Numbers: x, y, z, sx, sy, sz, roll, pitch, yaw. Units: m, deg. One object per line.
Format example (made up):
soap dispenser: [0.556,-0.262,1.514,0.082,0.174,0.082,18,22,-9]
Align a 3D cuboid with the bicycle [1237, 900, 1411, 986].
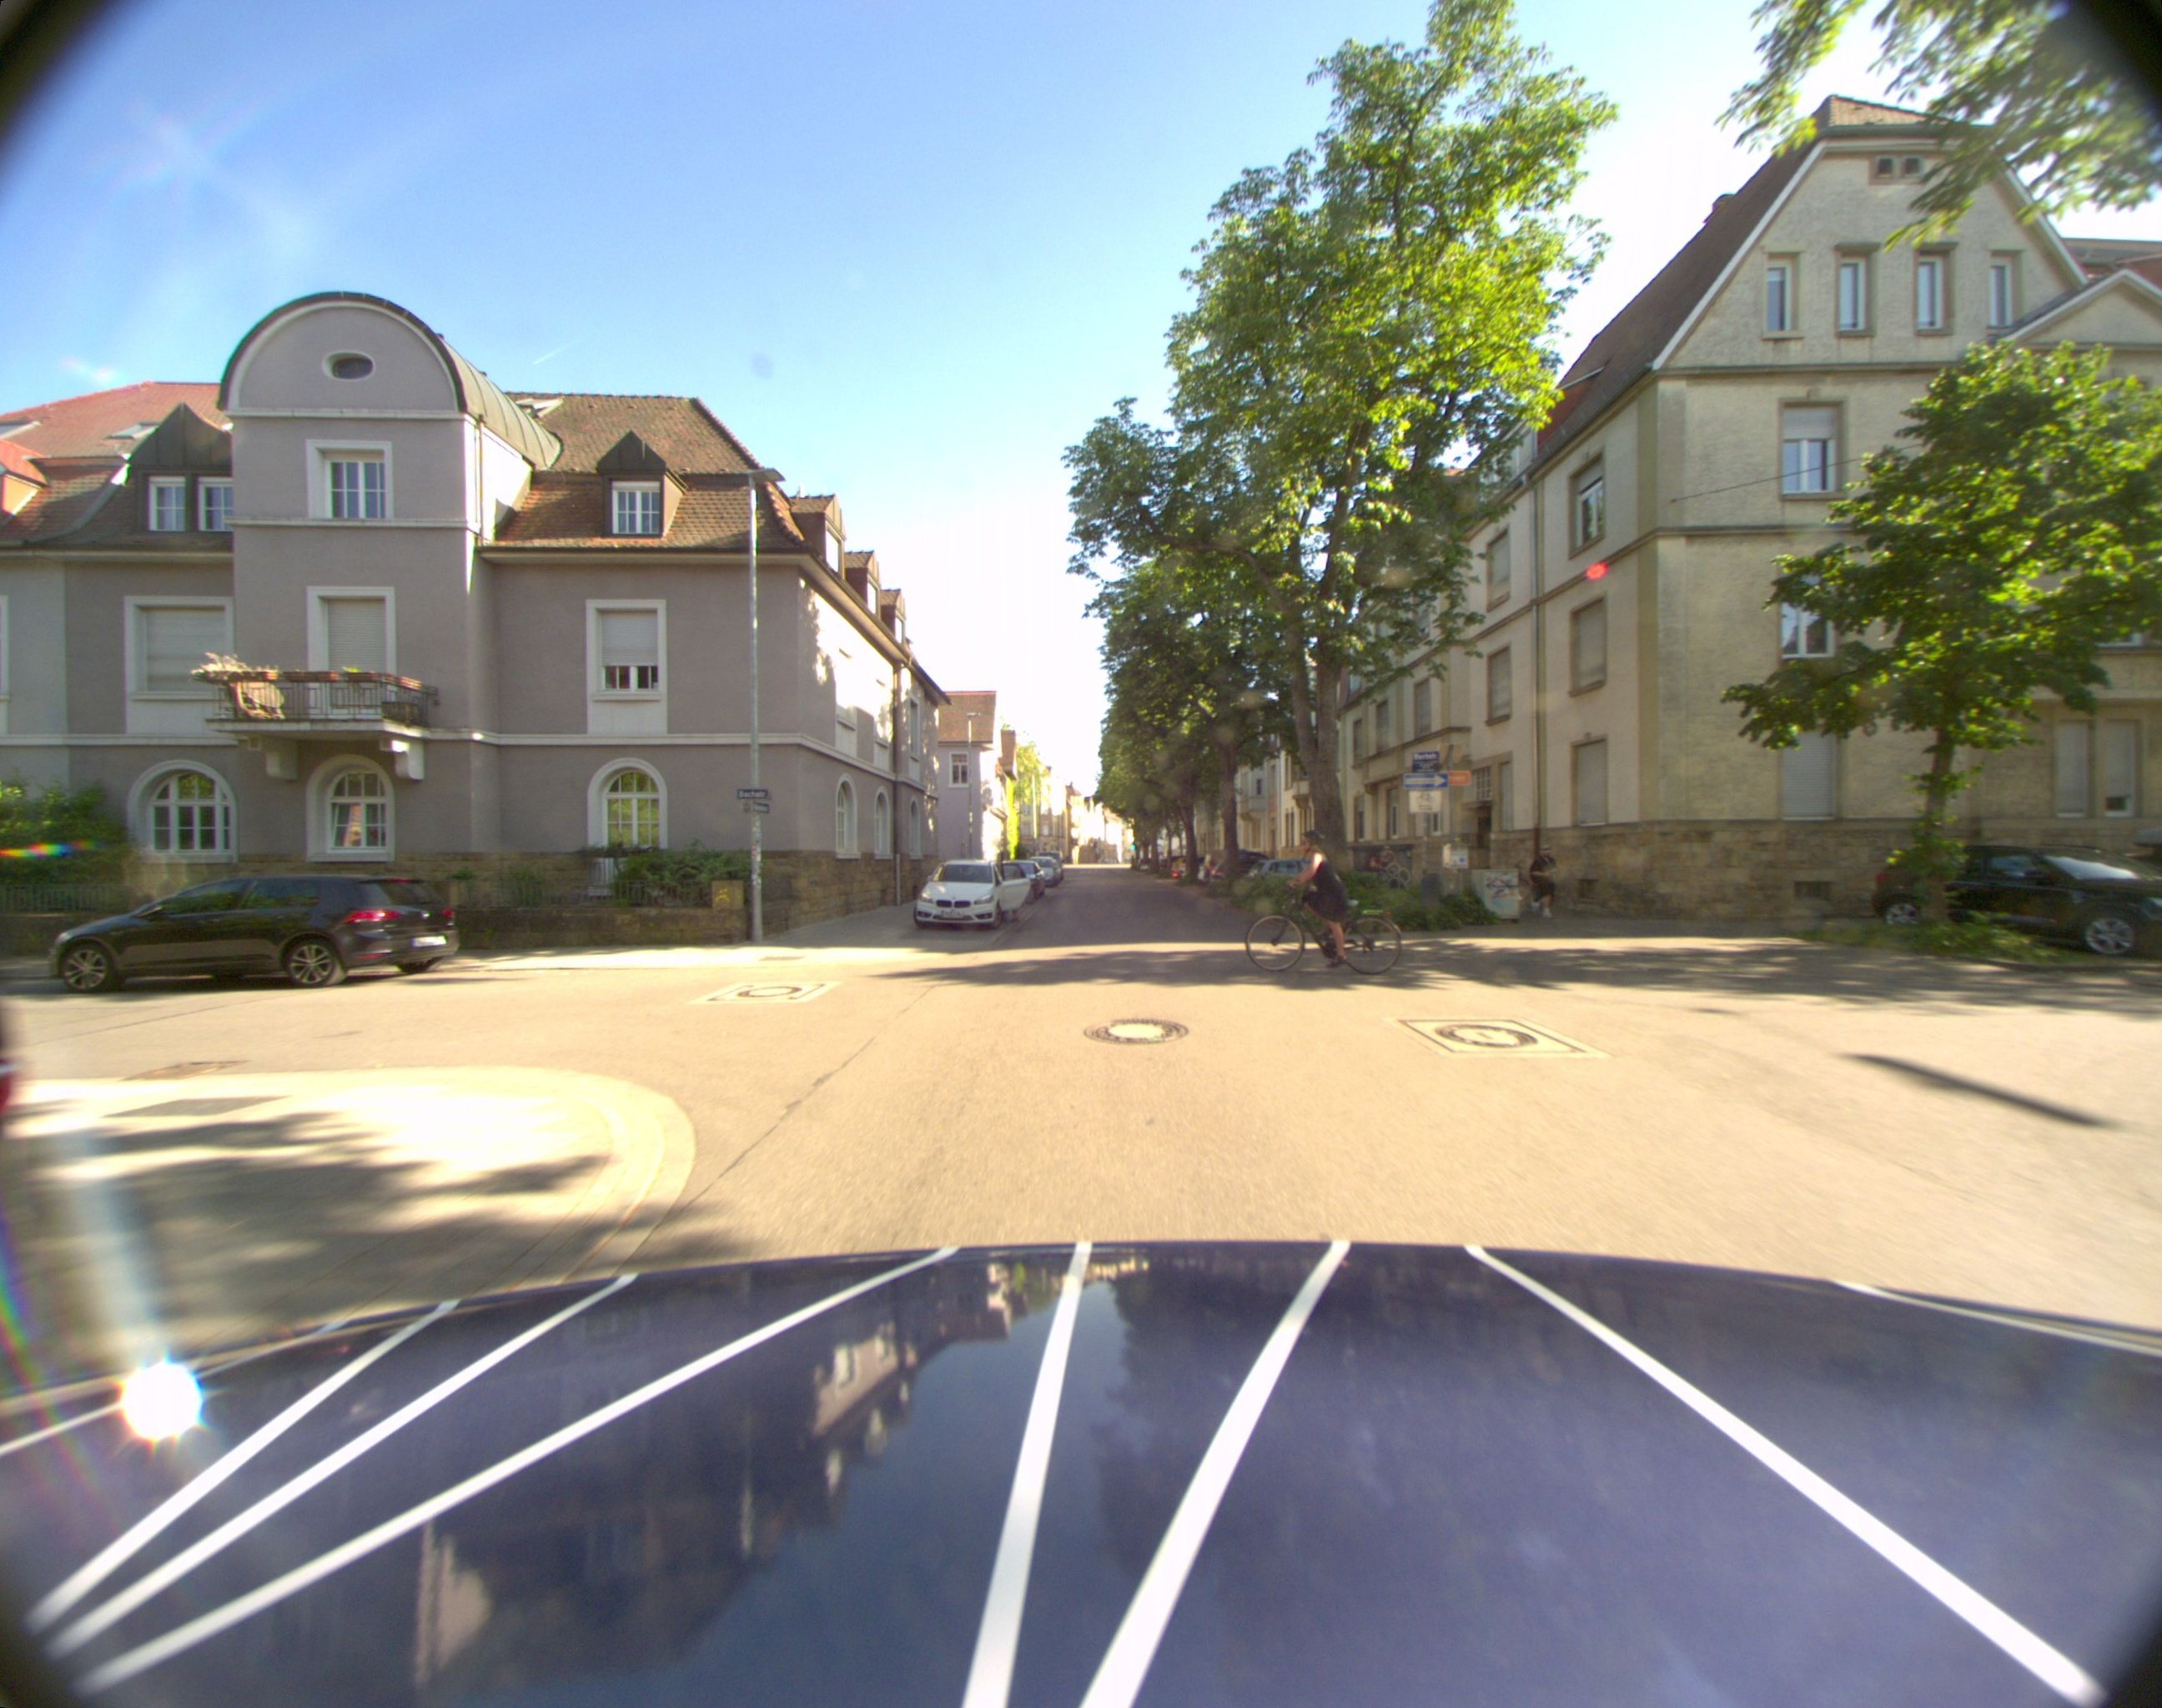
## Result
bicycle: [2.914,1.063,9.218,1.919,0.981,0.595,0,1,0]

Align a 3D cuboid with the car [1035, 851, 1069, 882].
car: [-1.967,0.821,52.341,1.998,1.904,3.999,-2,1,2]

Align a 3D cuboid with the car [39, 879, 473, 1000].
car: [-10.747,1.073,10.146,3.802,1.447,1.745,0,-1,-1]

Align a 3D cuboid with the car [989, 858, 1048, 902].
car: [-2.401,0.974,30.240,1.822,1.530,4.161,-2,0,2]

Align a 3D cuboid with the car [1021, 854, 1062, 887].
car: [-2.116,0.876,41.389,1.822,1.634,4.161,-2,0,2]

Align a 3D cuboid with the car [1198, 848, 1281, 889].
car: [7.377,0.658,35.648,3.496,1.882,1.821,0,0,0]

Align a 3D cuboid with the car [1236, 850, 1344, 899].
car: [8.303,0.792,30.362,3.992,1.752,2.002,-2,2,15]

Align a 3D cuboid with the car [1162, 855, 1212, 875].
car: [7.836,0.825,56.542,3.496,1.421,1.542,-1,1,0]

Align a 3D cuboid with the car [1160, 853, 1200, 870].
car: [8.999,0.678,69.257,3.496,1.421,1.542,-1,1,0]

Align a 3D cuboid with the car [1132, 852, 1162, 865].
car: [7.836,0.538,90.525,3.496,1.421,1.542,-1,1,0]

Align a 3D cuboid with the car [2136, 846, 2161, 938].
car: [20.125,0.713,11.650,1.790,1.645,4.417,0,1,2]

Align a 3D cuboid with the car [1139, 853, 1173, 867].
car: [8.111,0.629,82.113,3.496,1.421,1.542,-1,1,0]

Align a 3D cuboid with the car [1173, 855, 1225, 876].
car: [8.411,0.833,54.431,3.496,1.421,1.542,-1,1,0]

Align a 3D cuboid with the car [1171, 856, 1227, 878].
car: [7.749,0.861,50.133,3.496,1.421,1.542,-1,1,0]

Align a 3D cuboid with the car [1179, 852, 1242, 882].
car: [7.654,0.751,45.211,3.496,1.681,1.461,-1,1,0]

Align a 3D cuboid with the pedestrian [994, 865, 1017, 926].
pedestrian: [-1.939,1.047,19.401,0.533,1.519,0.301,0,1,-18]

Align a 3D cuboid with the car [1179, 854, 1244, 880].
car: [7.418,0.740,43.359,3.496,1.484,1.441,0,0,0]

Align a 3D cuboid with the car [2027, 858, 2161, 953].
car: [17.722,0.831,11.359,1.869,1.433,4.281,0,1,2]

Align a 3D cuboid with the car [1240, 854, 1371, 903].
car: [7.494,0.811,25.696,3.994,1.424,1.804,-2,1,8]

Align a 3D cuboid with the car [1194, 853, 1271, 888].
car: [7.470,0.784,37.675,3.496,1.681,1.682,0,0,0]

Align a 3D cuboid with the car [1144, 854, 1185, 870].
car: [7.344,0.703,67.043,3.496,1.421,1.542,-1,1,0]

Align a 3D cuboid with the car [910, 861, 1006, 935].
car: [-2.841,0.968,18.430,1.814,1.546,4.105,0,0,-2]

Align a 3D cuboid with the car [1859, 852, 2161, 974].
car: [15.241,0.783,11.794,1.869,1.545,4.417,0,1,2]

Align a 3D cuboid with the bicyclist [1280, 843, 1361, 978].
bicyclist: [2.885,0.660,9.206,0.737,1.562,0.755,0,1,0]

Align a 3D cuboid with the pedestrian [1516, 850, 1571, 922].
pedestrian: [10.486,0.702,17.242,0.667,1.598,0.979,0,1,1]
